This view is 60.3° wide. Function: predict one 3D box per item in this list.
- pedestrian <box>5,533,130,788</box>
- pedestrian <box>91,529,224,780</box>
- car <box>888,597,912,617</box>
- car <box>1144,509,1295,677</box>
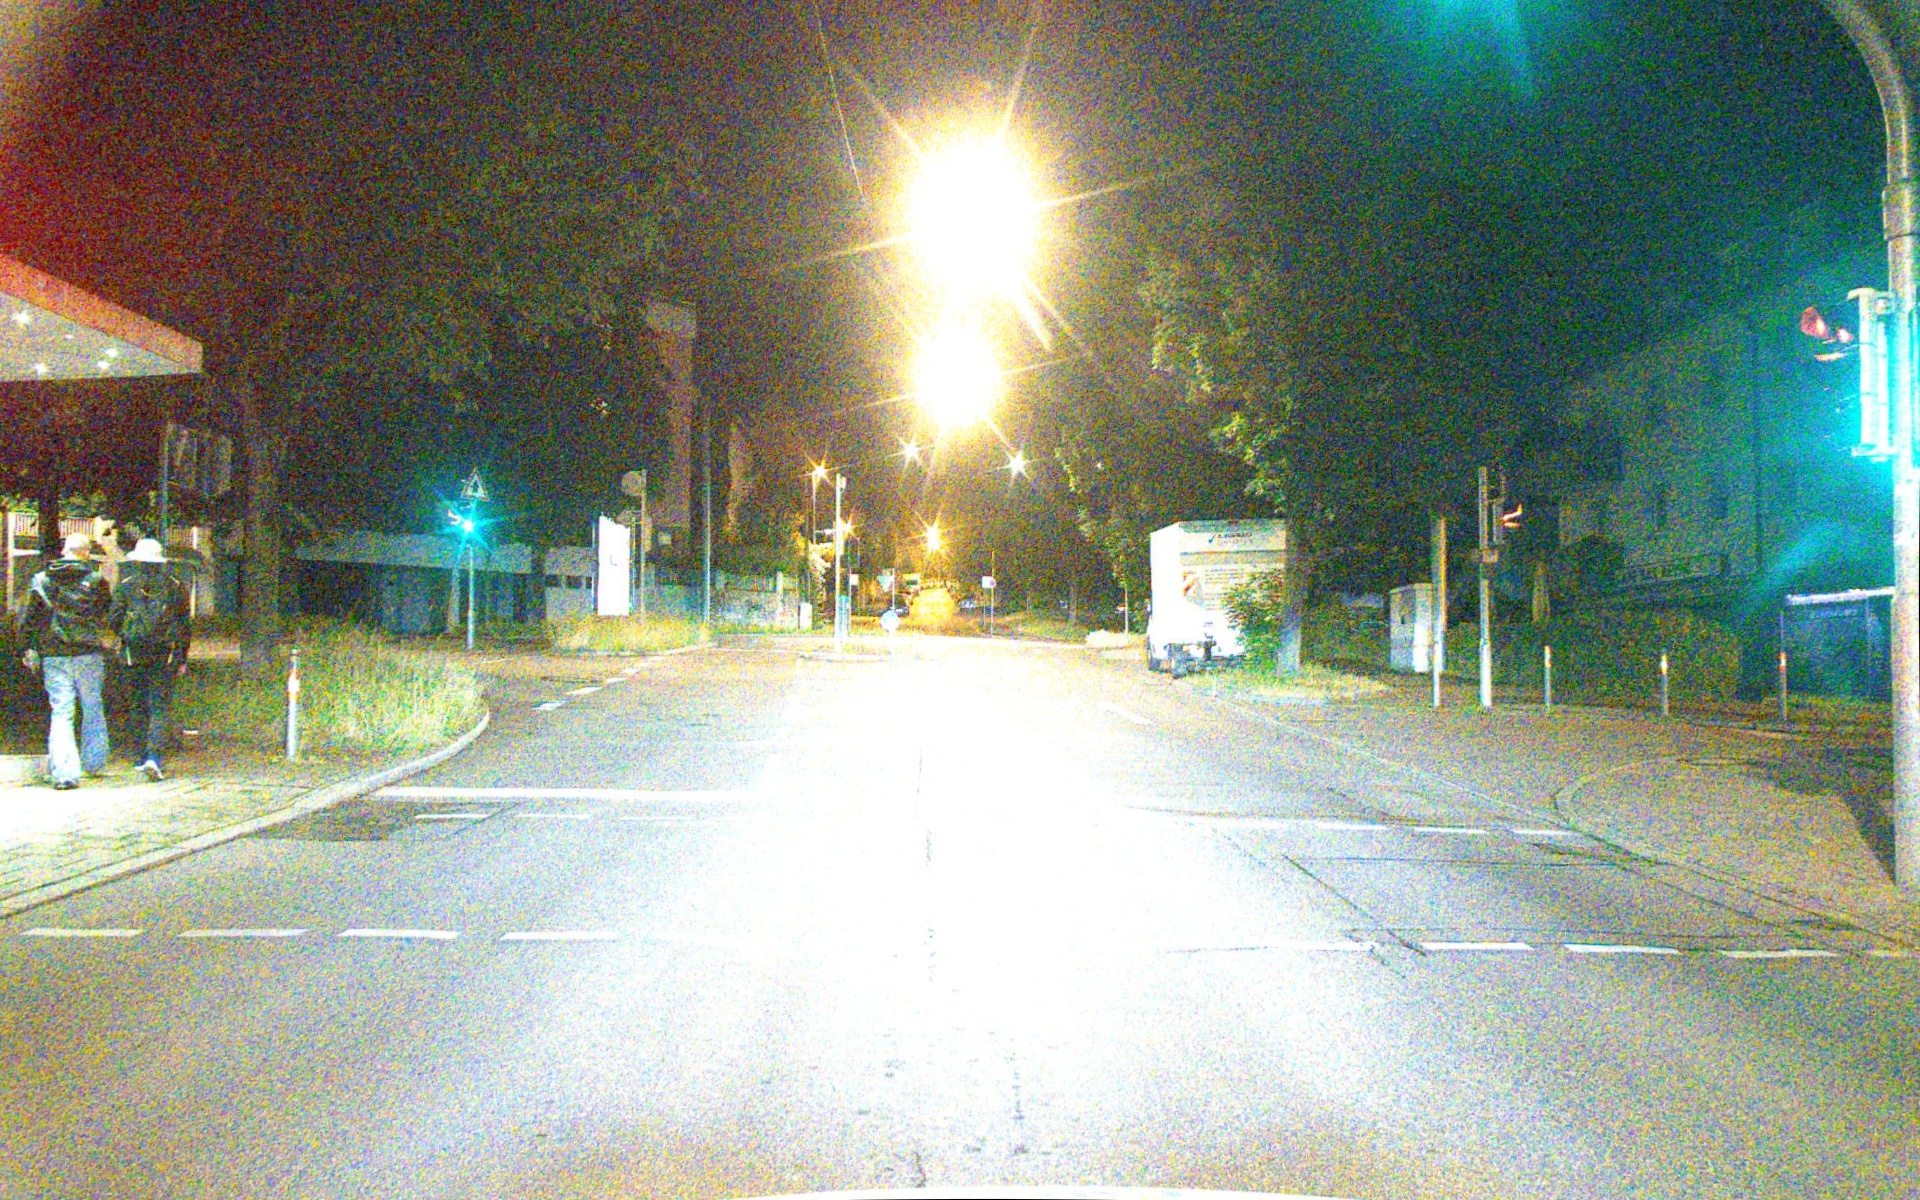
[{"bbox_3d":[-6.349,0.423,11.781,0.558,1.761,0.543,1,-1,-1],"label":"pedestrian"},{"bbox_3d":[-6.014,0.397,12.426,0.558,1.808,0.737,3,-1,-1],"label":"pedestrian"},{"bbox_3d":[-4.838,0.540,134.290,1.869,1.585,3.903,1,0,-1],"label":"car"},{"bbox_3d":[5.253,-0.131,34.363,2.249,3.147,5.840,-1,0,1],"label":"car"}]
